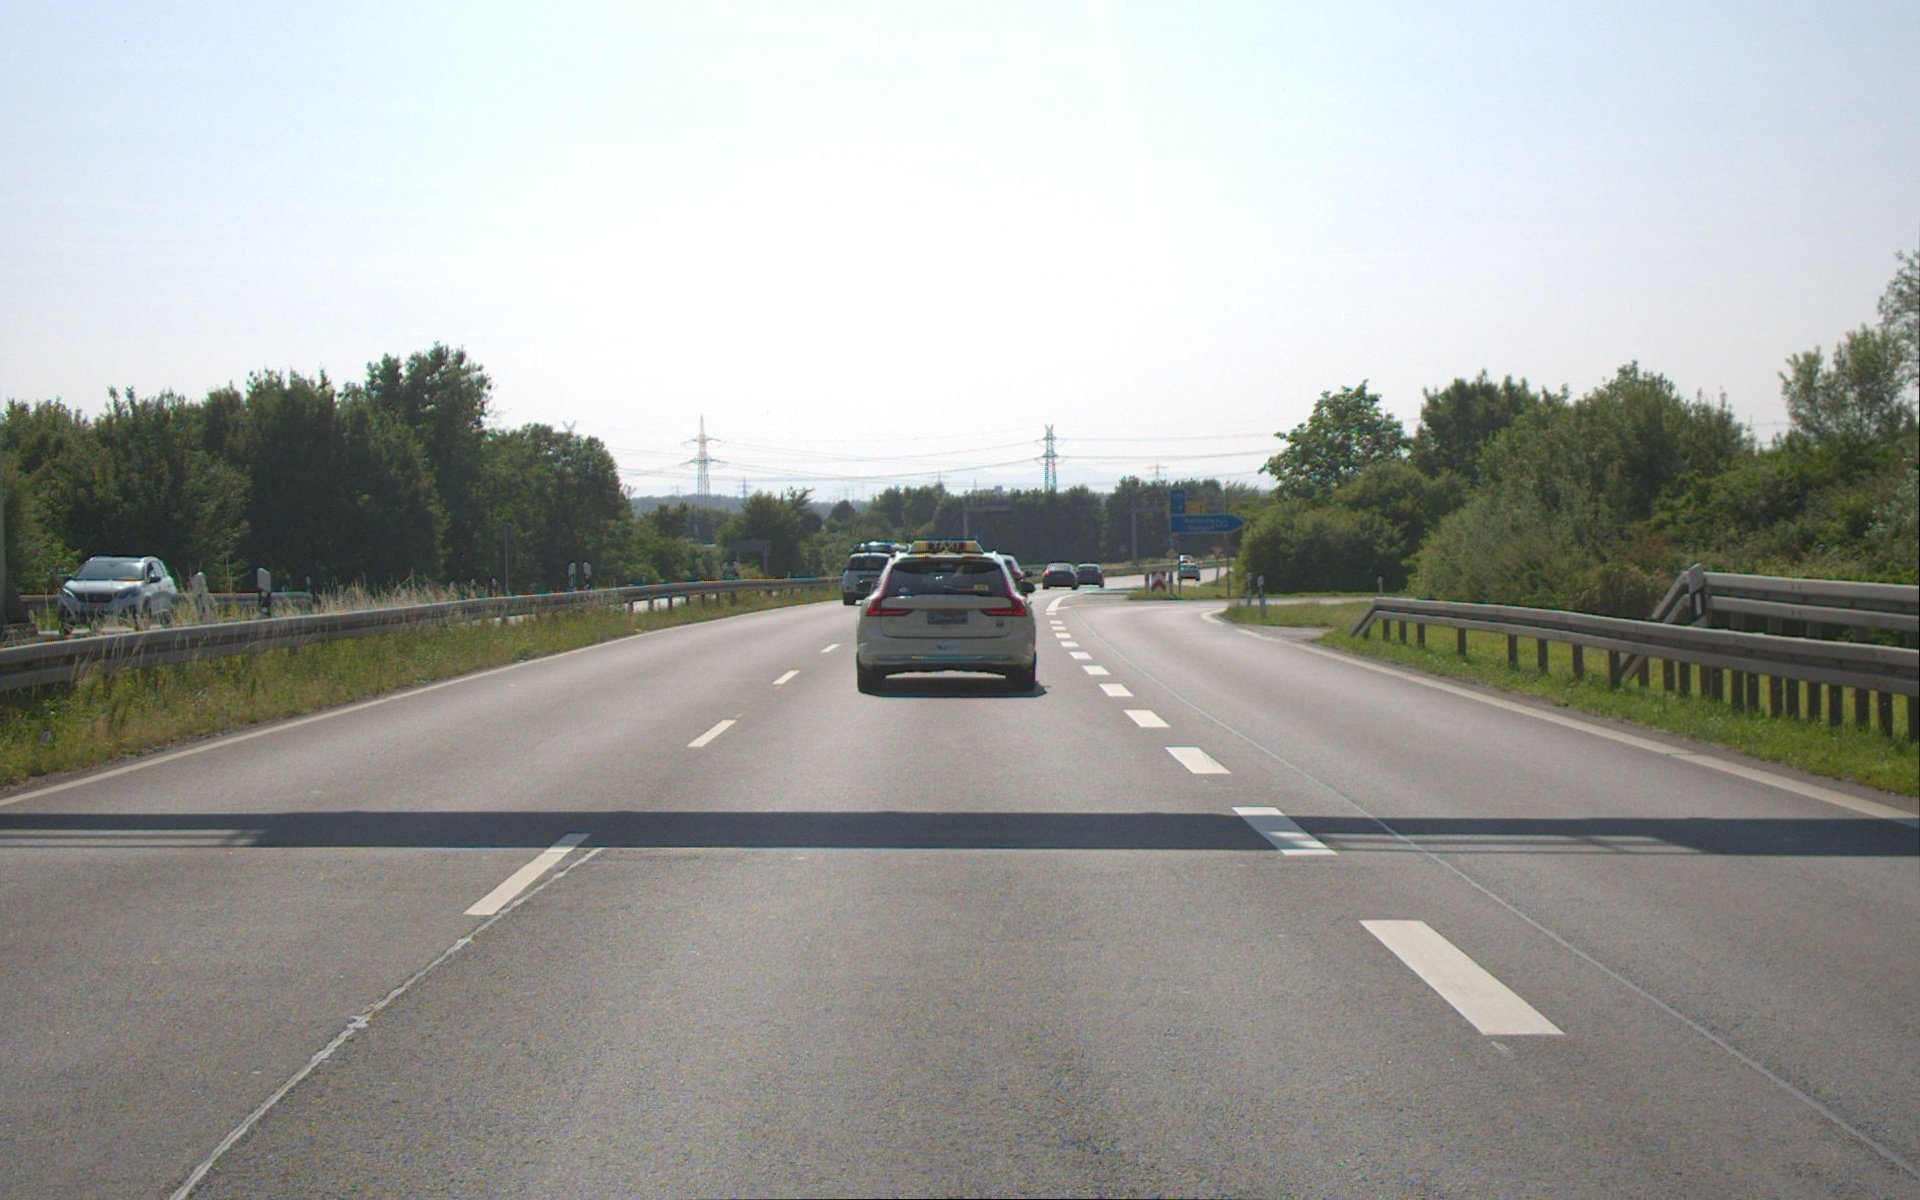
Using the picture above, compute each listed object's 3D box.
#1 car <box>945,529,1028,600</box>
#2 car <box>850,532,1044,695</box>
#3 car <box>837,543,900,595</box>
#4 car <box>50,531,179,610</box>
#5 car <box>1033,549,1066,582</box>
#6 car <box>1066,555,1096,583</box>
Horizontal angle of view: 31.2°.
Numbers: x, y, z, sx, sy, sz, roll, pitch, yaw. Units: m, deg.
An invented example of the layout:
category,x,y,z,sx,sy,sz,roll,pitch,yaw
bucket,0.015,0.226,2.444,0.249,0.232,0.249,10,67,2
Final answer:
category,x,y,z,sx,sy,sz,roll,pitch,yaw
car,0.569,-0.802,76.400,1.793,1.538,3.672,0,1,0
car,-0.171,0.096,36.887,1.958,1.596,4.107,1,2,-1
car,-2.742,-0.934,102.614,1.793,1.498,4.043,0,1,-3
car,-18.078,-0.655,73.697,1.901,1.614,4.630,1,1,-4
car,4.945,-1.889,190.321,1.841,1.796,4.000,0,1,1
car,7.631,-1.956,216.473,1.841,1.692,4.000,0,1,2
